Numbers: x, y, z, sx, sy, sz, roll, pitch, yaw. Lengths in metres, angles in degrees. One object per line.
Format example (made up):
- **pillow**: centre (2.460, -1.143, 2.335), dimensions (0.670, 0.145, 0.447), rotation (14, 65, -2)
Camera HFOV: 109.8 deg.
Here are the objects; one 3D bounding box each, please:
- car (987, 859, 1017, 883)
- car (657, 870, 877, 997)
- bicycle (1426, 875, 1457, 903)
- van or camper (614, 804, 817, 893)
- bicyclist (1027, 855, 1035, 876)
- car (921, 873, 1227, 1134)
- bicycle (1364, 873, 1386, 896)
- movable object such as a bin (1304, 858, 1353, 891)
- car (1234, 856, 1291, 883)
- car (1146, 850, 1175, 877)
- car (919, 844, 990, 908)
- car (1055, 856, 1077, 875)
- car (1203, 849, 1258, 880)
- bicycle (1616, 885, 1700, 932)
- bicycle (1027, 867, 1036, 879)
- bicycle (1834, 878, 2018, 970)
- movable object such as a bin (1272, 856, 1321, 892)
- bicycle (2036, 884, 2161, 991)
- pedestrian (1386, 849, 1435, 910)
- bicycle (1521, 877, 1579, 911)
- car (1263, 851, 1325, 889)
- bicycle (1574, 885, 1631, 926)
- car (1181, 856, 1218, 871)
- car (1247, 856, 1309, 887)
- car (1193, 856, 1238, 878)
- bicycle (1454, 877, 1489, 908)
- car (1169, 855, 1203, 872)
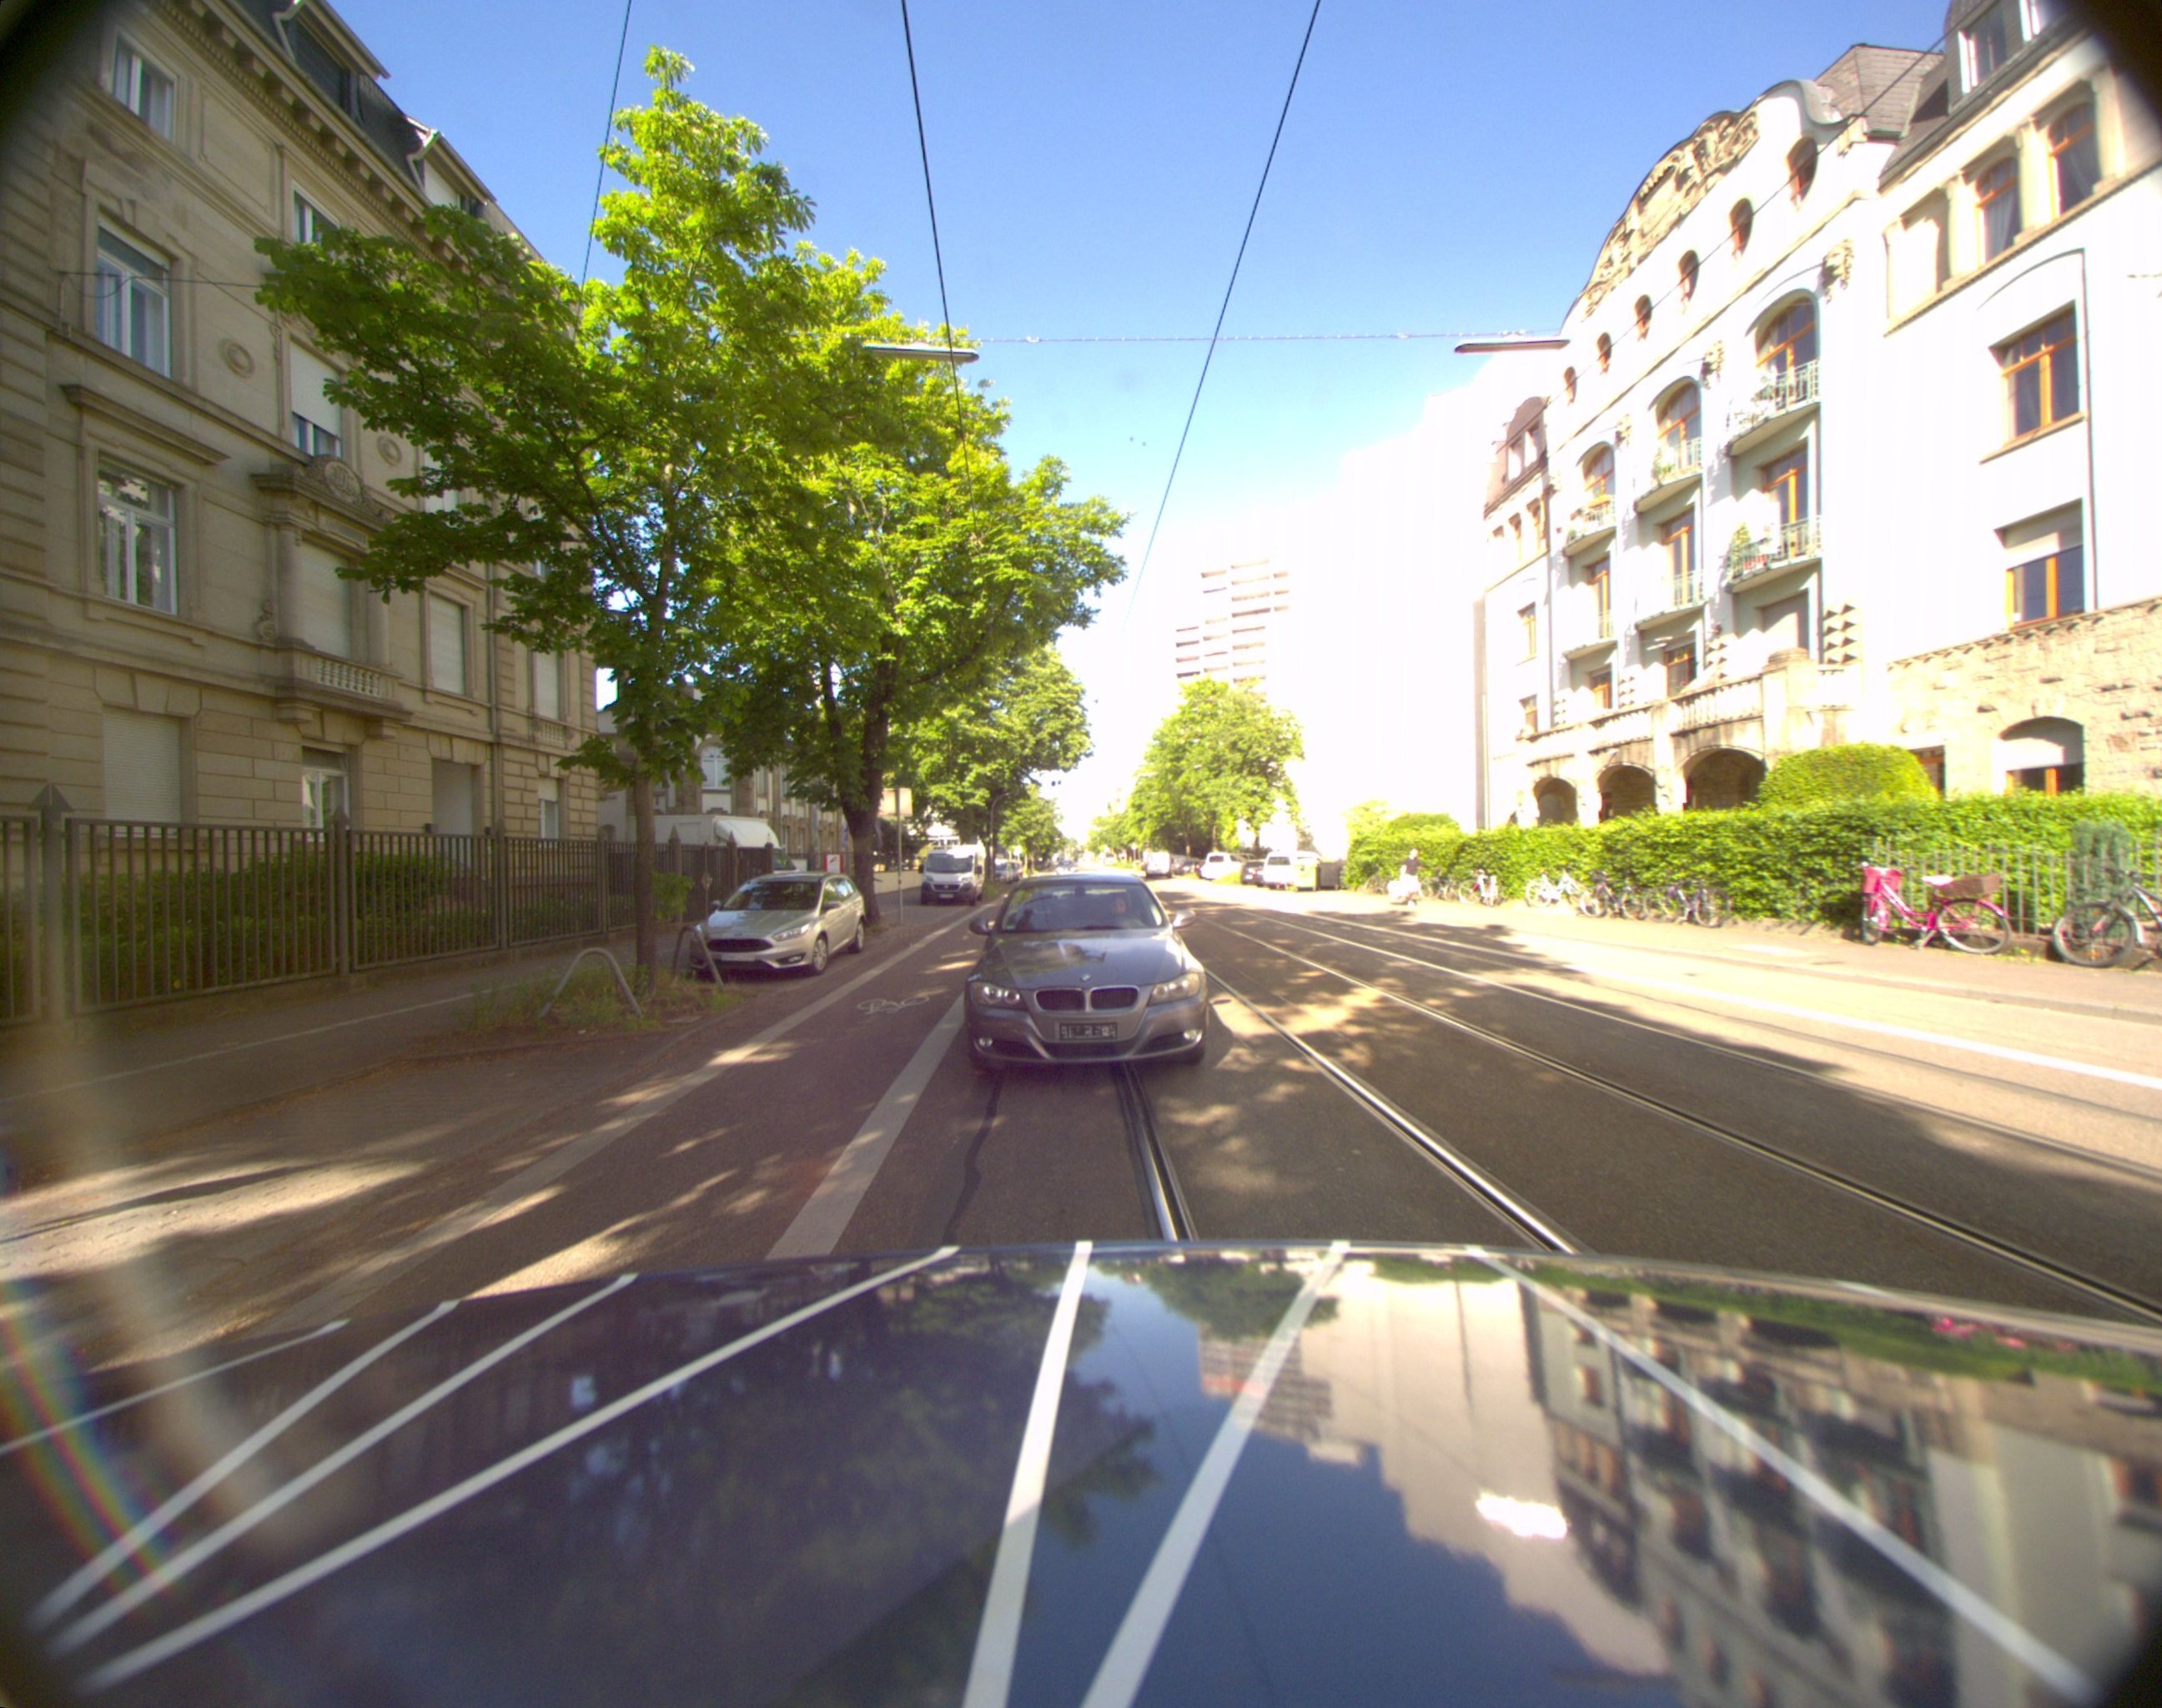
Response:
- **car**: centre (-5.535, 1.187, 53.764), dimensions (1.866, 1.541, 4.101), rotation (-2, 1, -3)
- **car**: centre (-4.705, 1.095, 12.175), dimensions (1.877, 1.534, 4.364), rotation (0, 1, -3)
- **bicycle**: centre (10.763, 1.037, 22.705), dimensions (0.297, 0.757, 1.263), rotation (-2, 1, 1)
- **van or camper**: centre (-12.165, -0.135, 25.190), dimensions (6.721, 2.612, 2.126), rotation (-2, 1, 24)
- **bicyclist**: centre (-3.990, 0.913, 60.640), dimensions (0.532, 1.660, 0.878), rotation (-2, 1, 1)
- **car**: centre (-0.016, 0.994, 6.766), dimensions (1.869, 1.426, 3.999), rotation (-2, 1, 1)
- **bicycle**: centre (10.631, 1.100, 27.458), dimensions (0.297, 0.757, 1.263), rotation (-2, 1, 1)
- **movable object such as a bin**: centre (11.116, 0.902, 34.213), dimensions (1.501, 1.309, 2.096), rotation (-2, 1, 1)
- **car**: centre (10.264, 0.855, 43.028), dimensions (2.757, 1.427, 1.458), rotation (-2, 1, -16)
- **car**: centre (6.266, 0.721, 59.609), dimensions (1.997, 1.893, 4.002), rotation (-2, 1, 9)
- **car**: centre (-4.979, 0.774, 30.784), dimensions (2.132, 2.329, 5.803), rotation (0, 1, -3)
- **car**: centre (-1.362, 1.071, 70.973), dimensions (1.828, 1.559, 3.999), rotation (-2, 1, 1)
- **car**: centre (9.900, 0.682, 50.118), dimensions (3.450, 1.860, 1.918), rotation (-3, 1, -44)
- **bicycle**: centre (10.916, 1.014, 14.430), dimensions (0.405, 0.757, 1.581), rotation (-2, 1, 1)
- **bicycle**: centre (-3.963, 1.512, 60.761), dimensions (0.535, 0.917, 2.057), rotation (-2, 1, 1)
- **bicycle**: centre (11.011, 0.869, 10.002), dimensions (0.405, 1.018, 1.816), rotation (-2, 1, 1)
- **movable object such as a bin**: centre (9.401, 0.848, 33.244), dimensions (1.512, 1.424, 2.096), rotation (-2, 1, 1)
- **bicycle**: centre (11.083, 0.863, 7.750), dimensions (0.405, 1.018, 1.816), rotation (-2, 1, 1)
- **pedestrian**: centre (9.387, 0.701, 21.662), dimensions (0.869, 1.619, 0.870), rotation (-6, 1, 1)
- **bicycle**: centre (11.790, 1.003, 19.106), dimensions (1.262, 0.789, 0.297), rotation (-2, 1, 1)
- **car**: centre (10.297, 0.774, 36.650), dimensions (3.194, 1.763, 1.456), rotation (1, -2, -45)
- **bicycle**: centre (10.915, 1.060, 15.935), dimensions (0.339, 0.757, 1.263), rotation (-2, 1, 1)
- **car**: centre (9.766, 0.803, 62.700), dimensions (2.757, 1.083, 1.226), rotation (-2, 1, -16)
- **car**: centre (10.267, 0.893, 39.661), dimensions (2.757, 1.427, 1.458), rotation (-2, 1, -16)
- **car**: centre (9.473, 0.909, 53.547), dimensions (2.757, 1.427, 1.458), rotation (-2, 1, -16)
- **bicycle**: centre (10.741, 1.058, 20.914), dimensions (0.318, 0.757, 1.263), rotation (-2, 1, 1)
- **car**: centre (9.670, 0.852, 69.901), dimensions (2.757, 1.417, 1.226), rotation (-2, 1, -16)
